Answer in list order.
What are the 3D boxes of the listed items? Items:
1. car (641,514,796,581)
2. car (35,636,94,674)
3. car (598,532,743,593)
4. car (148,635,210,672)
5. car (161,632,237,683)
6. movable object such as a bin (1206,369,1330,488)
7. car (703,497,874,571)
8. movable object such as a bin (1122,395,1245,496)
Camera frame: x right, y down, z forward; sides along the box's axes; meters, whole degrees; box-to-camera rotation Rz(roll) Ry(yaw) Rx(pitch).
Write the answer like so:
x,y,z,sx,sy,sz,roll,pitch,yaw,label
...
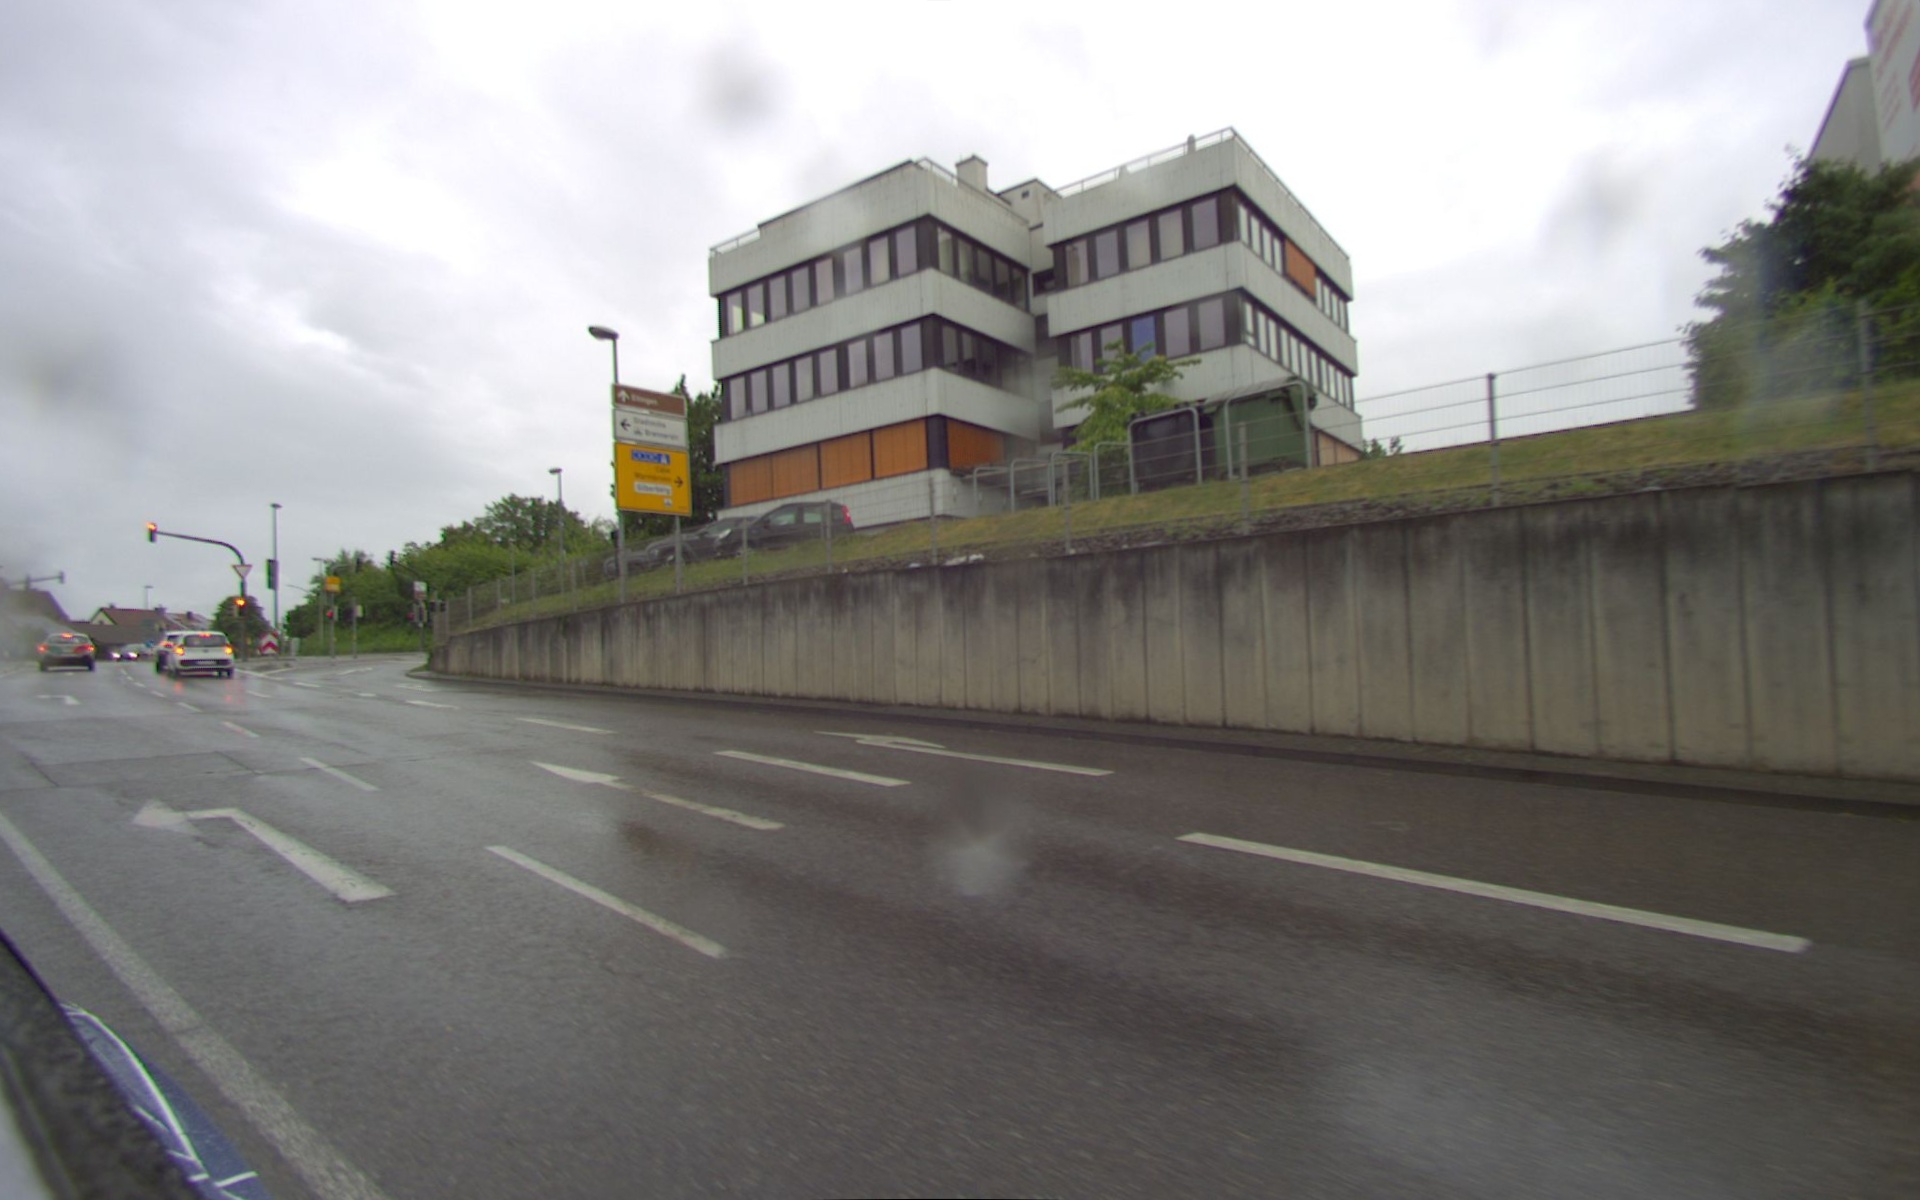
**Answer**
x,y,z,sx,sy,sz,roll,pitch,yaw,label
-6.540,-1.380,27.405,3.932,1.666,2.006,-1,0,-16,car
-36.094,2.168,40.770,1.712,1.314,3.726,-1,0,-42,car
-8.461,-1.077,29.699,3.932,1.666,2.006,-1,0,-16,car
-31.558,2.115,40.873,1.712,1.314,3.726,-1,0,-42,car
-25.440,1.873,33.788,1.712,1.471,3.726,-1,0,-42,car
4.323,-2.355,14.206,1.218,1.356,1.227,-2,-1,45,movable object such as a bin
-4.277,-1.582,25.028,3.932,1.666,2.006,-1,0,-16,car
3.332,-2.259,15.098,1.343,1.221,1.227,-2,-1,44,movable object such as a bin
